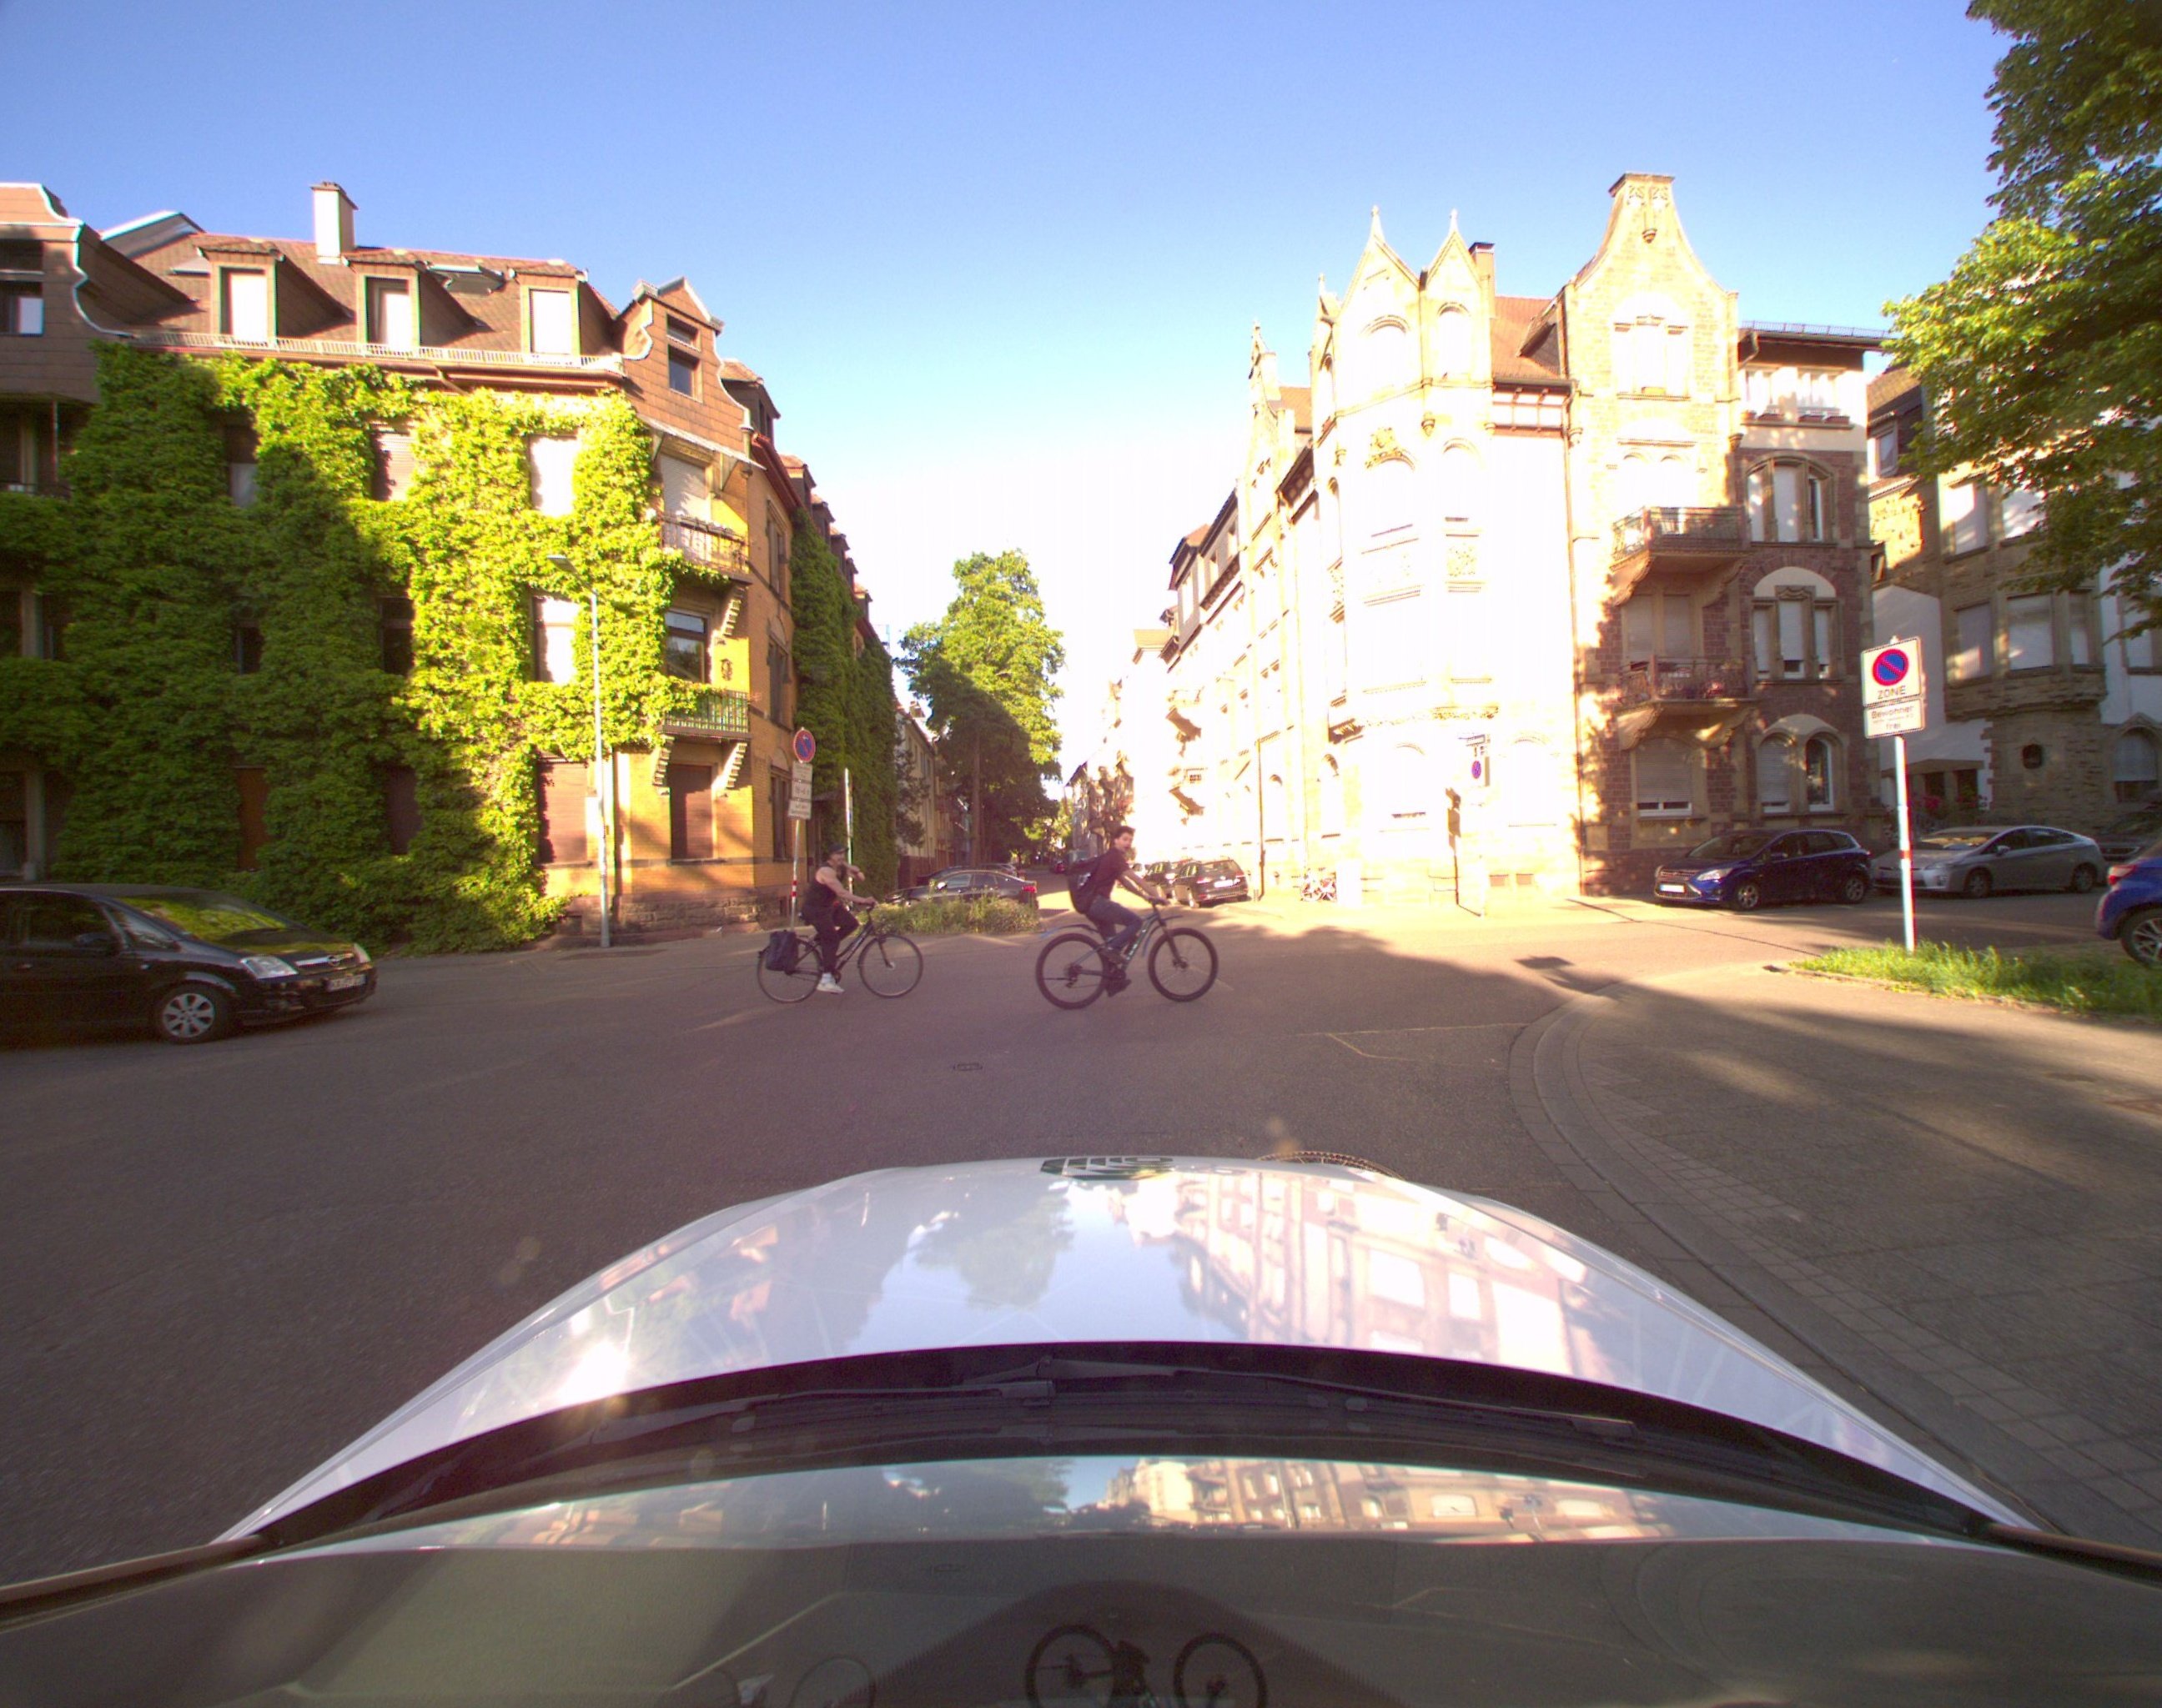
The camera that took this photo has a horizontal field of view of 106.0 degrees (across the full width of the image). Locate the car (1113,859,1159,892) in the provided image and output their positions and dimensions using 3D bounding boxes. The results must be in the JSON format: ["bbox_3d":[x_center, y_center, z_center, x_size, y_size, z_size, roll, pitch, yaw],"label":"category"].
[{"bbox_3d":[2.770,1.074,41.845,1.735,1.581,3.992,-1,-1,-5],"label":"car"}]

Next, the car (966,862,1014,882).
[{"bbox_3d":[-7.286,1.439,65.390,3.798,1.575,1.706,-1,-1,-8],"label":"car"}]

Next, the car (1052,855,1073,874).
[{"bbox_3d":[-2.221,1.237,96.734,2.163,2.237,4.782,-1,-1,-5],"label":"car"}]

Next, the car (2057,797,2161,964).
[{"bbox_3d":[11.254,0.182,6.471,1.993,1.556,3.987,-1,-2,-9],"label":"car"}]

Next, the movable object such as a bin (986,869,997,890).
[{"bbox_3d":[-5.190,1.475,47.315,0.598,1.153,0.485,-1,-1,-11],"label":"movable object such as a bin"}]

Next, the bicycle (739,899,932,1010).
[{"bbox_3d":[-2.667,1.076,9.029,1.964,1.073,0.695,-1,-1,-13],"label":"bicycle"}]

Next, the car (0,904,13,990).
[{"bbox_3d":[-20.061,1.635,12.207,4.907,1.404,1.878,-2,1,-9],"label":"car"}]

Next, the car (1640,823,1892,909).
[{"bbox_3d":[14.249,0.214,17.031,4.245,1.622,1.729,-1,0,-10],"label":"car"}]

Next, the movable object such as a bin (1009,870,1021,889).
[{"bbox_3d":[-3.842,1.495,47.554,0.629,1.053,0.566,-1,-1,-11],"label":"movable object such as a bin"}]

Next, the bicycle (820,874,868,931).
[{"bbox_3d":[-5.680,1.140,19.573,0.561,1.268,1.604,-3,0,2],"label":"bicycle"}]

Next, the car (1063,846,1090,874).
[{"bbox_3d":[-0.460,0.590,79.720,2.163,2.691,4.782,-1,-1,-5],"label":"car"}]

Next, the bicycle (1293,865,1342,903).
[{"bbox_3d":[6.488,0.820,22.454,0.515,0.998,1.567,-1,-1,-17],"label":"bicycle"}]

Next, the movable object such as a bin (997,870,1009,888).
[{"bbox_3d":[-4.532,1.459,47.387,0.629,1.053,0.566,-1,-1,-11],"label":"movable object such as a bin"}]

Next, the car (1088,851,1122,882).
[{"bbox_3d":[1.557,0.824,54.502,1.800,2.004,3.992,-1,-1,-5],"label":"car"}]

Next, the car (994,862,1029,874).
[{"bbox_3d":[-7.815,1.610,91.528,3.798,1.240,1.706,-1,-1,-8],"label":"car"}]

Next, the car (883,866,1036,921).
[{"bbox_3d":[-3.494,1.124,23.892,4.239,1.435,1.995,-1,-1,-7],"label":"car"}]

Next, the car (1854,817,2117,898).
[{"bbox_3d":[19.627,0.041,17.738,4.440,1.498,1.729,-2,1,-10],"label":"car"}]

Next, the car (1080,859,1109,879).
[{"bbox_3d":[0.992,1.139,62.692,1.800,1.514,3.992,-1,-1,-5],"label":"car"}]

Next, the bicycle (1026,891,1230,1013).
[{"bbox_3d":[0.457,0.954,8.145,1.961,1.072,0.555,-1,2,-9],"label":"bicycle"}]

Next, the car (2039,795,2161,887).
[{"bbox_3d":[25.234,-0.374,18.848,4.483,1.974,1.969,-2,1,-10],"label":"car"}]

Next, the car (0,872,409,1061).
[{"bbox_3d":[-9.751,1.095,8.384,4.005,1.590,1.645,-2,1,-9],"label":"car"}]

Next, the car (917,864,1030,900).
[{"bbox_3d":[-4.726,1.216,36.184,4.830,1.435,1.706,-1,-1,-7],"label":"car"}]

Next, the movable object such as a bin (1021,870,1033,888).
[{"bbox_3d":[-3.145,1.442,47.653,0.629,1.053,0.566,-1,-1,-11],"label":"movable object such as a bin"}]

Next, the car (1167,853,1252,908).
[{"bbox_3d":[3.996,0.805,25.928,1.735,1.581,3.992,-1,-1,-5],"label":"car"}]

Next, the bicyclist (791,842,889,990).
[{"bbox_3d":[-2.614,0.644,8.917,0.970,1.527,0.705,-1,-1,-14],"label":"bicyclist"}]

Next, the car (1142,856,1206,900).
[{"bbox_3d":[3.590,0.904,32.026,1.735,1.581,3.992,-1,-1,-5],"label":"car"}]

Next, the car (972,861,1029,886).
[{"bbox_3d":[-5.510,1.330,55.603,3.800,1.575,1.705,-1,-1,-9],"label":"car"}]

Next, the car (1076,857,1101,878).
[{"bbox_3d":[0.609,1.154,69.640,1.800,1.679,3.992,-1,-1,-5],"label":"car"}]

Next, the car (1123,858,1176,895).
[{"bbox_3d":[3.084,1.016,37.402,1.735,1.581,3.992,-1,-1,-5],"label":"car"}]

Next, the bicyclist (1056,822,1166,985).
[{"bbox_3d":[0.278,0.464,8.115,0.968,1.527,0.719,-1,-1,-8],"label":"bicyclist"}]
